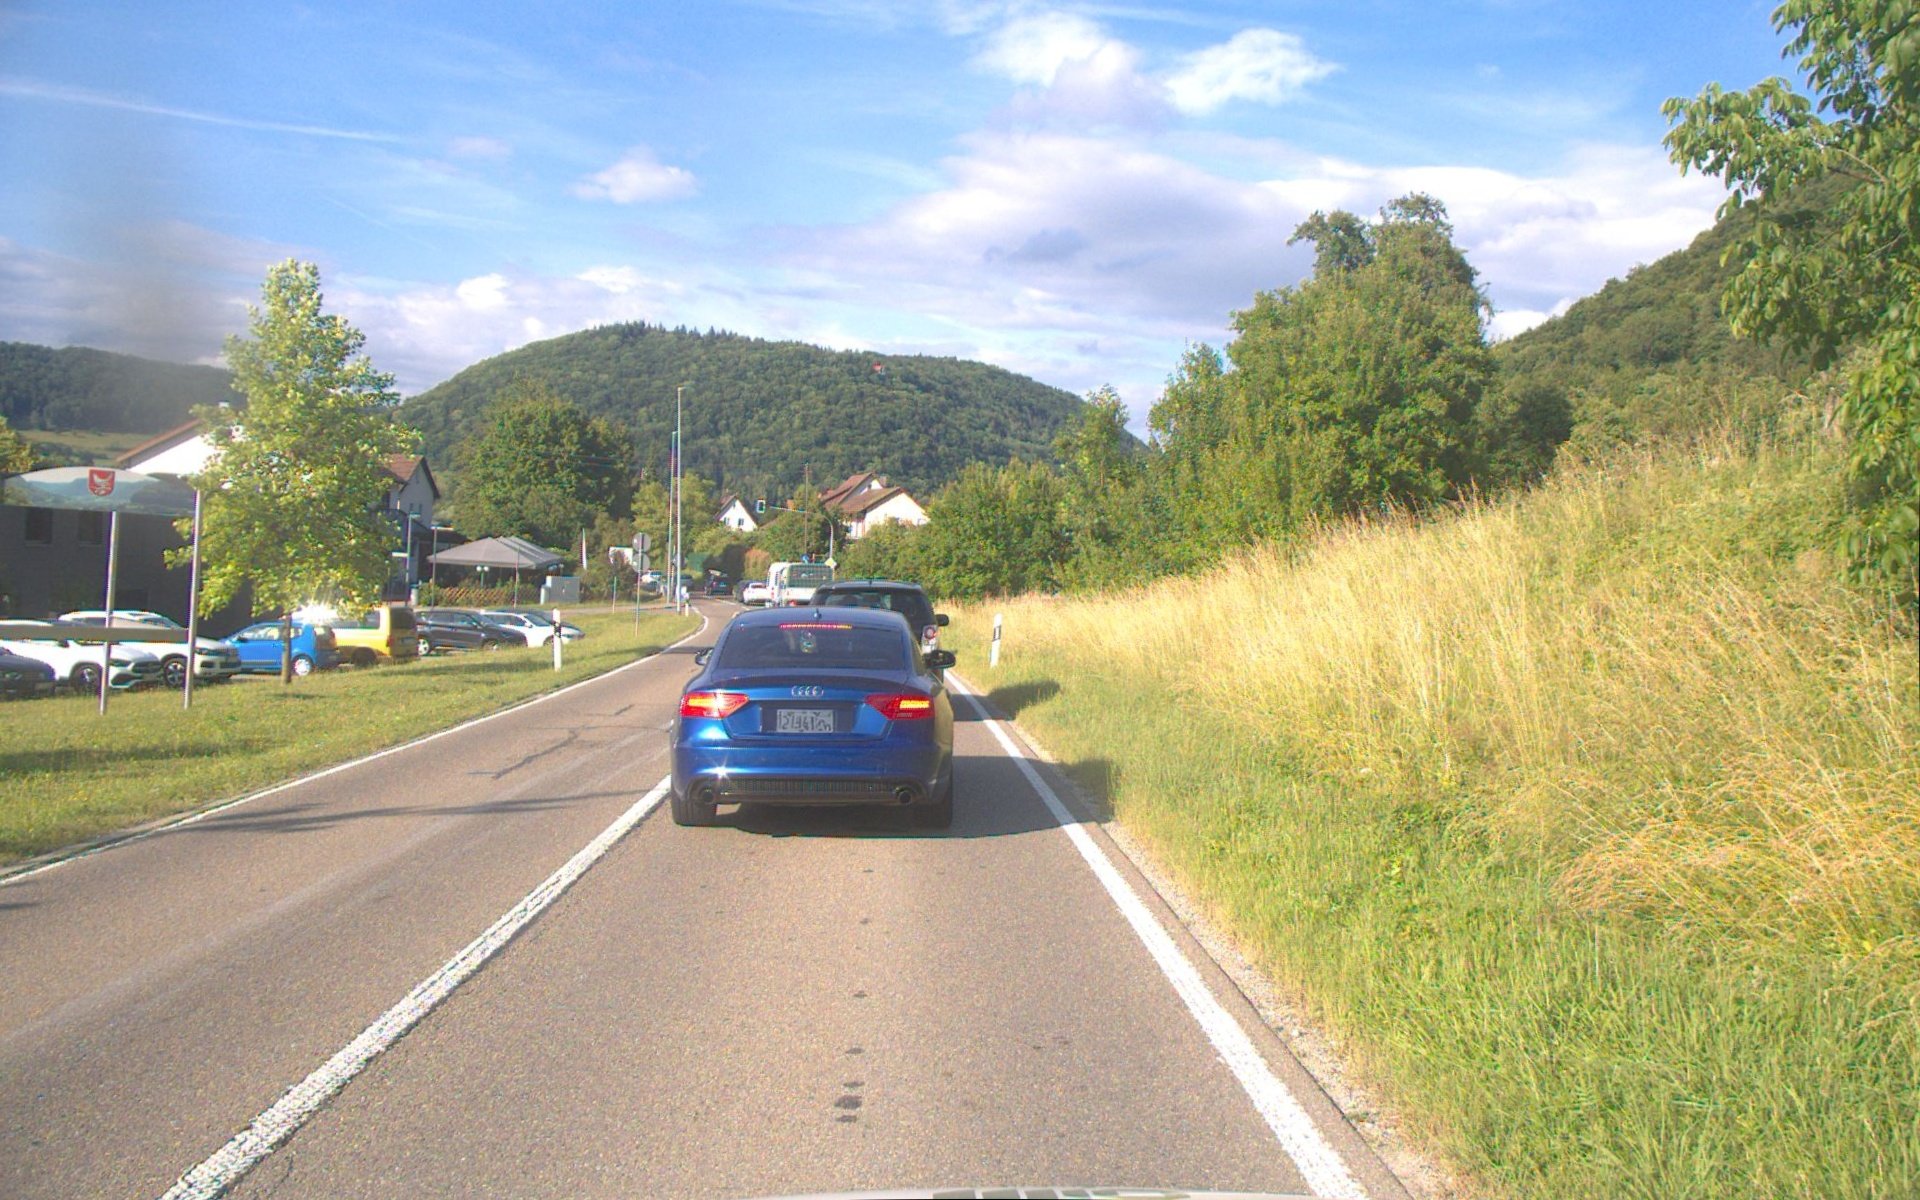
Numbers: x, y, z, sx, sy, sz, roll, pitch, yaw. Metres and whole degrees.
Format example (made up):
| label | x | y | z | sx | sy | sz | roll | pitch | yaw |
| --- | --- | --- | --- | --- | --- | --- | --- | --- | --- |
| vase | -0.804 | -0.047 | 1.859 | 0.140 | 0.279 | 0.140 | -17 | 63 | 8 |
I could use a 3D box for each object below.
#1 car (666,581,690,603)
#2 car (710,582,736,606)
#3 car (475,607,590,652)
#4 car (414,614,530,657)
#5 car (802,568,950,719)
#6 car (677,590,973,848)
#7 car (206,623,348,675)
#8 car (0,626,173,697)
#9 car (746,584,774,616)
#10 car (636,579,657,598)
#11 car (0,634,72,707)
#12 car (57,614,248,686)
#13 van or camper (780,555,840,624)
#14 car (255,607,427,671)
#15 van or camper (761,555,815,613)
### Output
| label | x | y | z | sx | sy | sz | roll | pitch | yaw |
| --- | --- | --- | --- | --- | --- | --- | --- | --- | --- |
| car | -26.564 | -0.738 | 155.647 | 1.651 | 1.958 | 3.980 | 0 | 0 | -18 |
| car | -19.766 | -0.513 | 137.856 | 1.649 | 1.958 | 3.984 | 0 | 0 | -15 |
| car | -16.398 | 1.129 | 63.496 | 3.949 | 1.689 | 1.657 | 0 | 0 | 9 |
| car | -17.371 | 1.254 | 58.916 | 3.633 | 1.465 | 1.510 | 0 | 0 | 9 |
| car | -1.047 | 0.491 | 20.345 | 1.613 | 1.653 | 3.514 | 2 | 0 | -4 |
| car | -0.901 | 0.691 | 11.371 | 1.708 | 1.476 | 3.514 | 0 | 0 | -4 |
| car | -19.173 | 1.365 | 46.527 | 3.299 | 1.397 | 1.660 | 0 | 0 | 1 |
| car | -19.858 | 1.365 | 37.241 | 3.588 | 1.520 | 1.598 | 0 | 0 | 9 |
| car | -12.786 | 0.011 | 105.481 | 1.629 | 1.958 | 3.992 | 0 | 0 | -9 |
| car | -32.648 | -1.209 | 172.397 | 1.651 | 1.958 | 3.979 | 0 | 0 | -18 |
| car | -20.428 | 1.427 | 34.028 | 3.547 | 1.430 | 1.598 | 0 | -1 | 9 |
| car | -19.755 | 1.206 | 40.502 | 3.990 | 1.702 | 1.598 | 0 | 0 | 9 |
| van or camper | -5.908 | -0.383 | 64.656 | 2.014 | 2.549 | 5.800 | 0 | 0 | -8 |
| car | -18.355 | 1.154 | 49.136 | 4.456 | 1.846 | 1.843 | 0 | 0 | 9 |
| van or camper | -8.565 | -0.756 | 82.110 | 2.240 | 2.761 | 5.752 | 0 | 0 | -10 |
